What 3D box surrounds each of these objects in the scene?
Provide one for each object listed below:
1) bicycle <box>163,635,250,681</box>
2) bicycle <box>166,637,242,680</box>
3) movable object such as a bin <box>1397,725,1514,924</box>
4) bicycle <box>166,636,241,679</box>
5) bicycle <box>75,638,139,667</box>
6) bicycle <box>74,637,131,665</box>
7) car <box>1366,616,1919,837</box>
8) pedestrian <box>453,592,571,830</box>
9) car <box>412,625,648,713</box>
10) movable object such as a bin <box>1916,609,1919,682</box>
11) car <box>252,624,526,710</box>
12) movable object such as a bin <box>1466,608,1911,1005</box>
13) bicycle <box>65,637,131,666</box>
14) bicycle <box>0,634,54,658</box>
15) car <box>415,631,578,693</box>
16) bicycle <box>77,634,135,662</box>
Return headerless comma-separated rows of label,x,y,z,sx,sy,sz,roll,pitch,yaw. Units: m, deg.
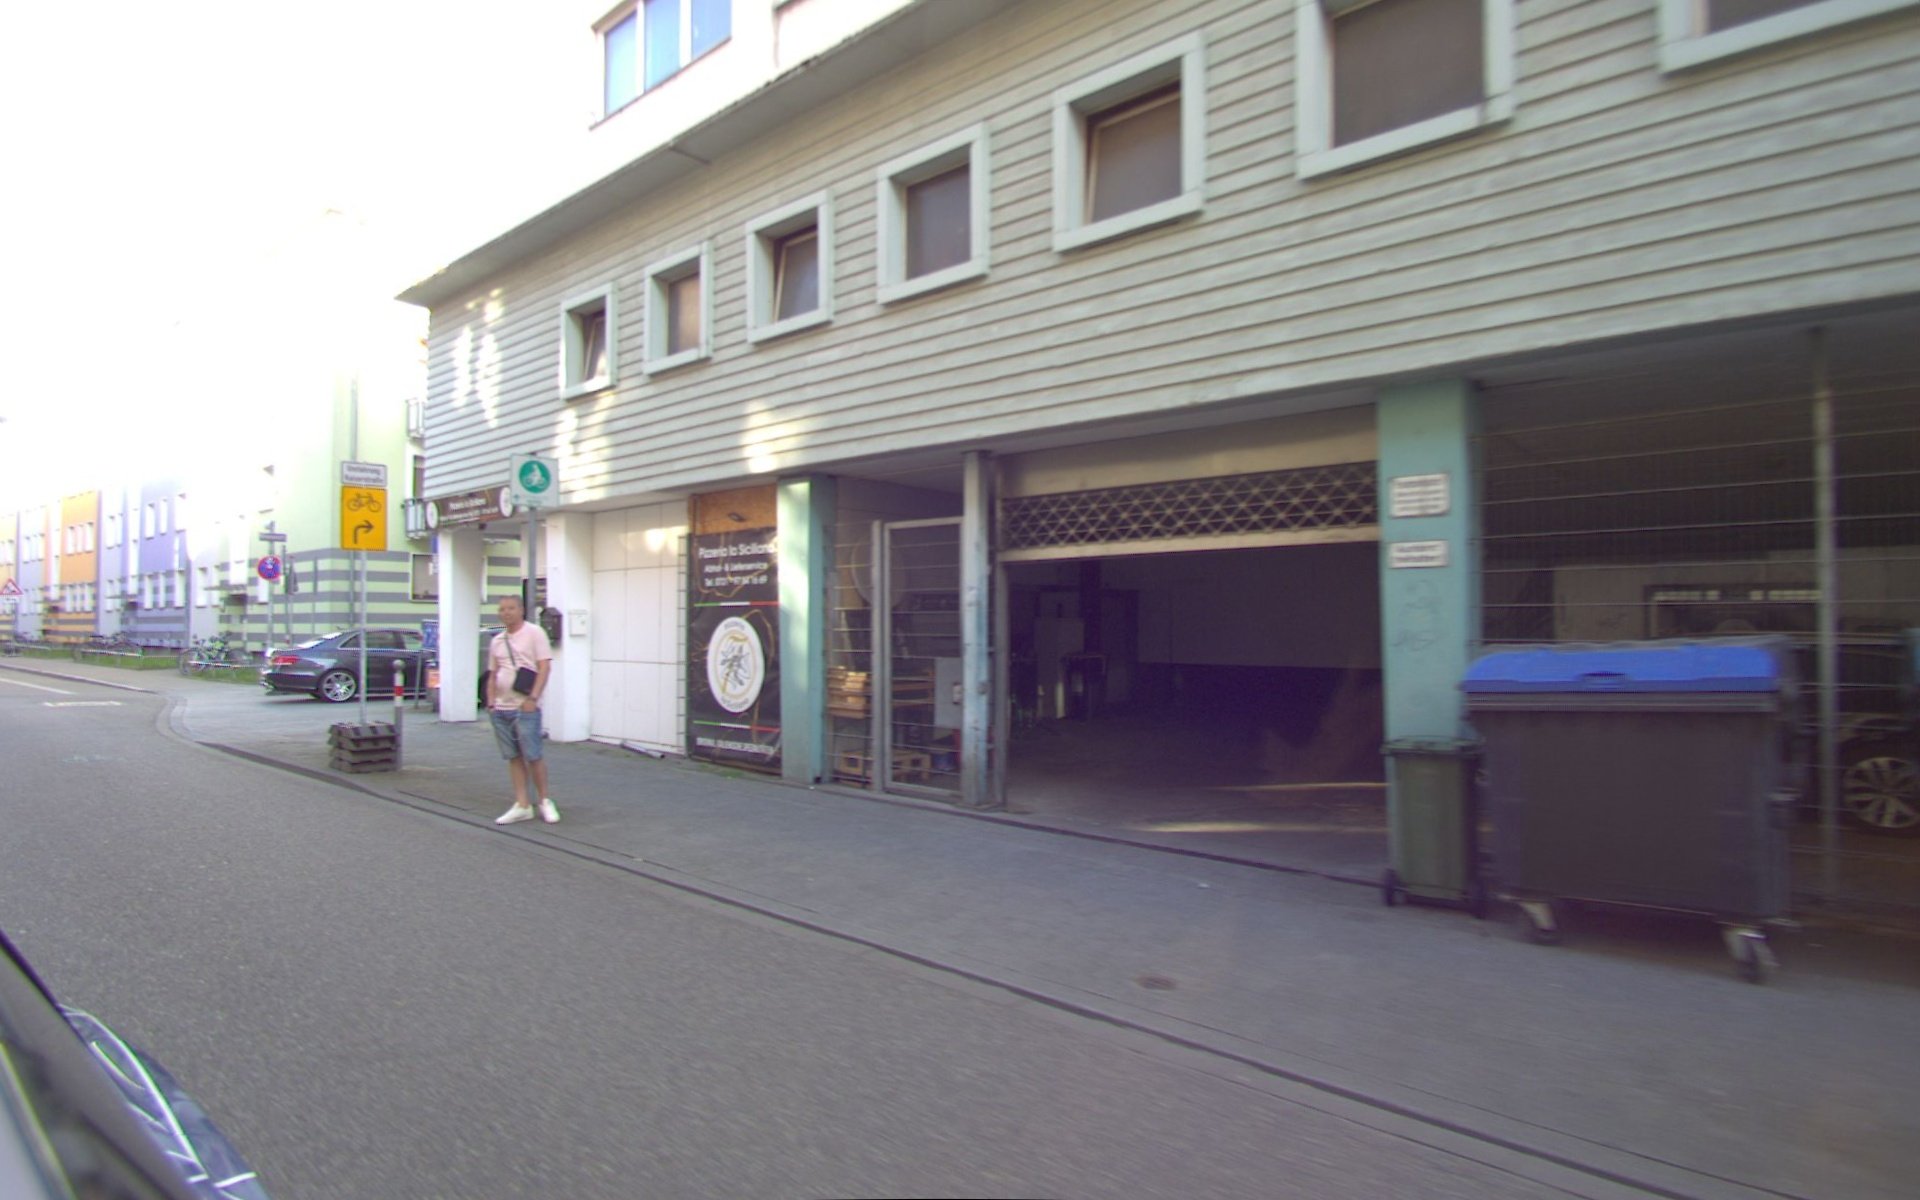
bicycle,-21.271,1.619,28.597,0.749,1.109,1.798,-2,1,39
bicycle,-22.192,1.696,29.732,0.387,1.109,1.720,-2,1,33
movable object such as a bin,2.662,1.176,5.443,0.467,0.949,0.389,-2,-3,40
bicycle,-22.450,1.687,30.054,0.387,1.109,1.720,-2,1,33
bicycle,-32.224,1.961,38.241,0.388,0.953,1.780,-2,1,40
bicycle,-33.393,1.977,39.432,0.388,0.953,1.637,-2,1,40
car,6.159,0.930,8.748,4.599,1.547,1.744,-2,-2,41
pedestrian,-3.328,0.794,7.529,0.625,1.682,0.489,-2,0,28
car,-8.222,1.263,19.634,1.691,1.531,3.893,-2,-2,39
movable object such as a bin,4.615,0.770,3.818,1.341,1.532,1.111,-3,-3,40
car,-11.475,1.272,20.512,4.596,1.490,1.790,1,0,-39
movable object such as a bin,3.285,0.815,4.661,1.473,1.483,0.958,-3,-4,41
bicycle,-31.931,1.901,37.513,0.388,0.953,1.780,-2,1,40
bicycle,-44.644,2.180,48.412,0.653,0.990,1.786,-1,2,36
car,-11.543,1.498,25.357,1.723,1.448,3.301,-2,-2,39
bicycle,-33.062,1.850,39.199,0.388,0.953,1.637,-2,1,40
